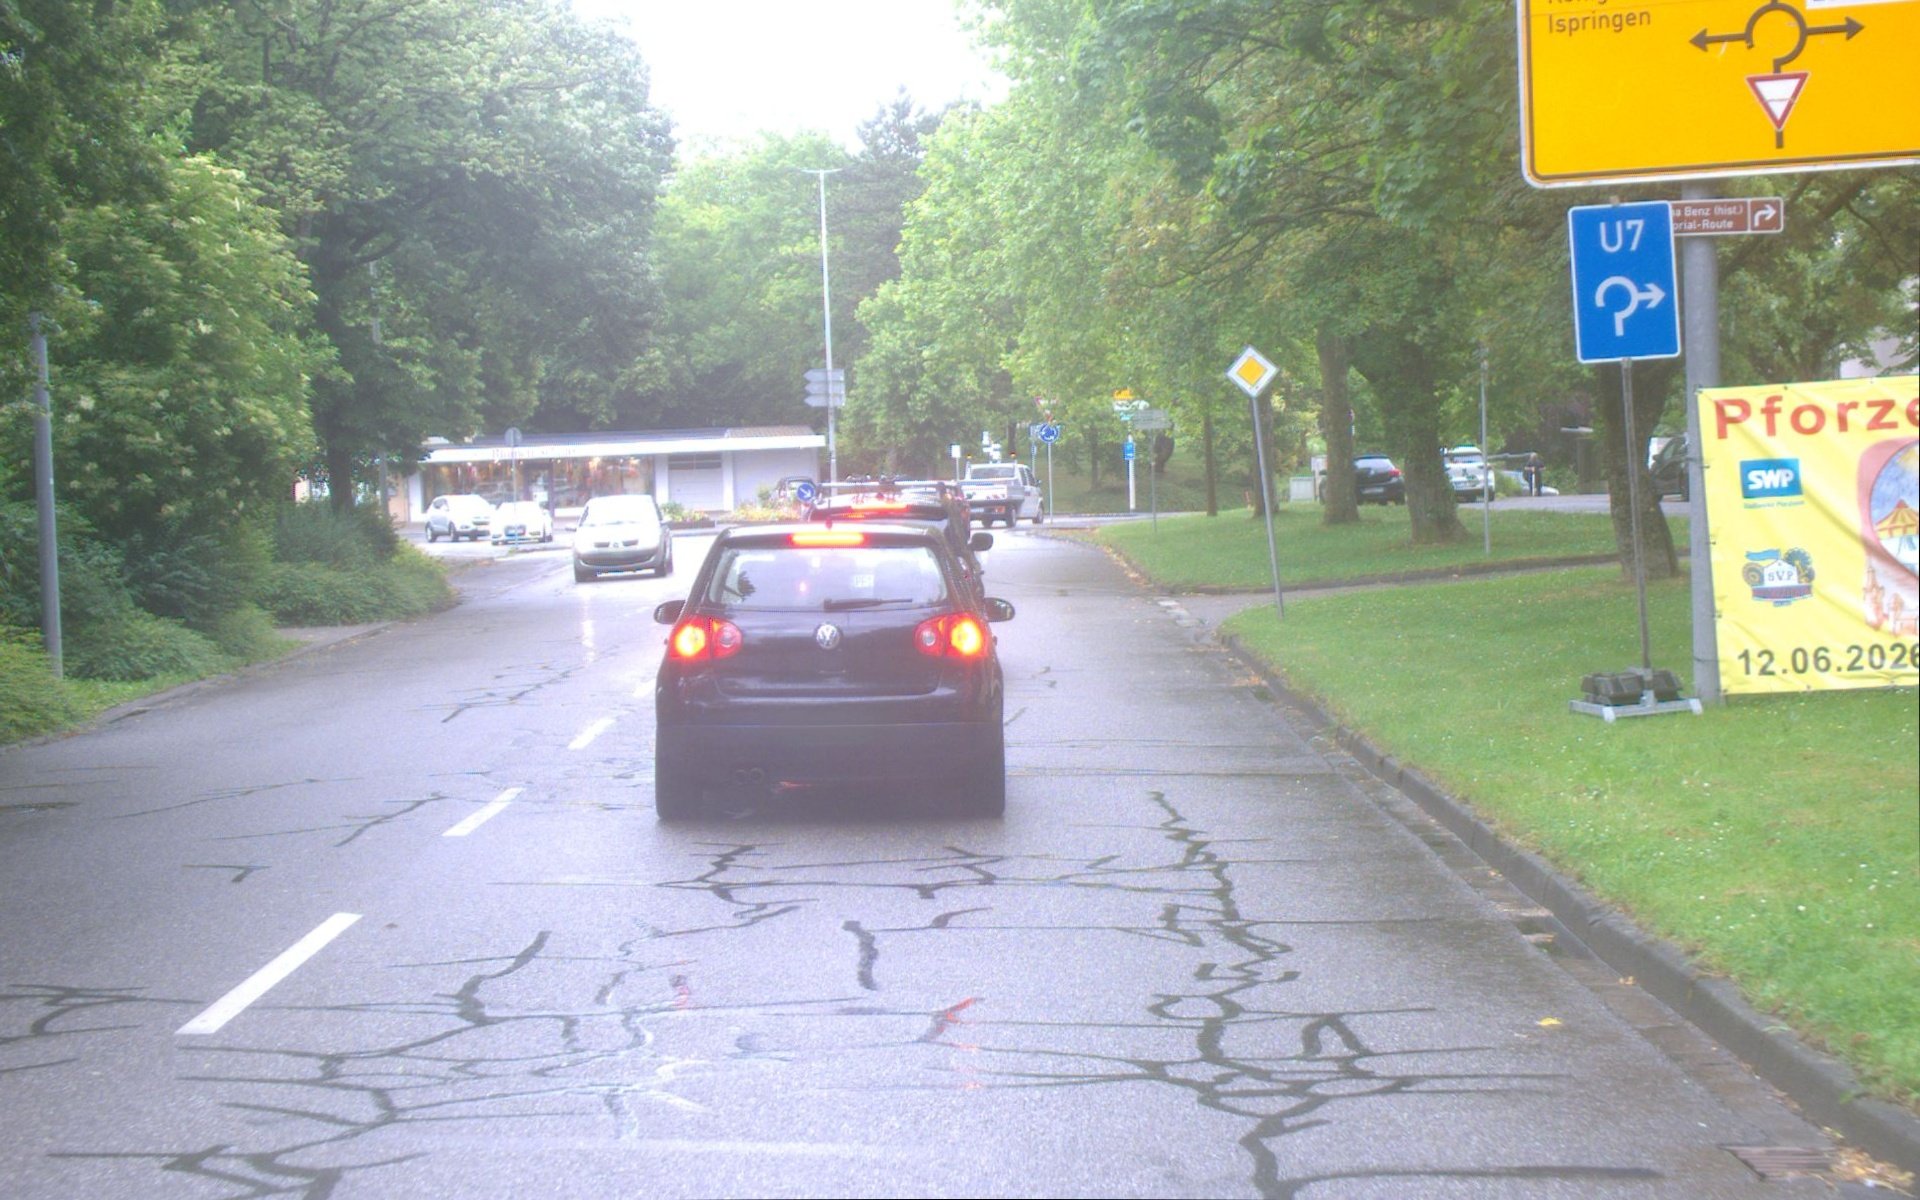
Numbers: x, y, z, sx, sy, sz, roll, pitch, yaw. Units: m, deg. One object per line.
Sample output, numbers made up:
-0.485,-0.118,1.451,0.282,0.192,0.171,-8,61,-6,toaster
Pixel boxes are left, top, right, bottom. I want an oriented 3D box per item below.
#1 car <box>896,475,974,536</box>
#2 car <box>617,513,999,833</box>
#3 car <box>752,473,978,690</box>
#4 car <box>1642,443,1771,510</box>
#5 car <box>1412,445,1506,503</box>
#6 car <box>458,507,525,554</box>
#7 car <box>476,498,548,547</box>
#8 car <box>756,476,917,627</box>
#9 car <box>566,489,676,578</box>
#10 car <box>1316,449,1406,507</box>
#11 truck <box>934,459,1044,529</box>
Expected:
-0.681,-2.489,90.567,1.706,1.508,3.674,-2,2,-5,car
-0.718,0.297,18.073,1.798,1.510,3.754,0,1,0,car
-0.810,-0.218,31.080,1.855,1.778,4.000,-2,2,0,car
16.992,-2.832,78.463,1.801,1.406,4.113,-3,3,-3,car
13.213,-3.351,91.207,1.803,1.401,4.001,-4,2,0,car
-16.970,-2.535,124.684,1.772,1.612,3.804,-1,2,2,car
-14.805,-2.572,113.838,1.608,1.422,4.008,-2,3,3,car
-1.522,-0.636,43.704,1.855,1.778,4.000,-2,1,0,car
-6.589,-1.321,67.130,1.763,1.608,4.142,-3,2,-1,car
10.593,-3.242,90.989,1.803,1.380,4.001,-4,2,0,car
0.937,-3.248,105.134,2.418,1.998,5.149,-2,2,11,truck
